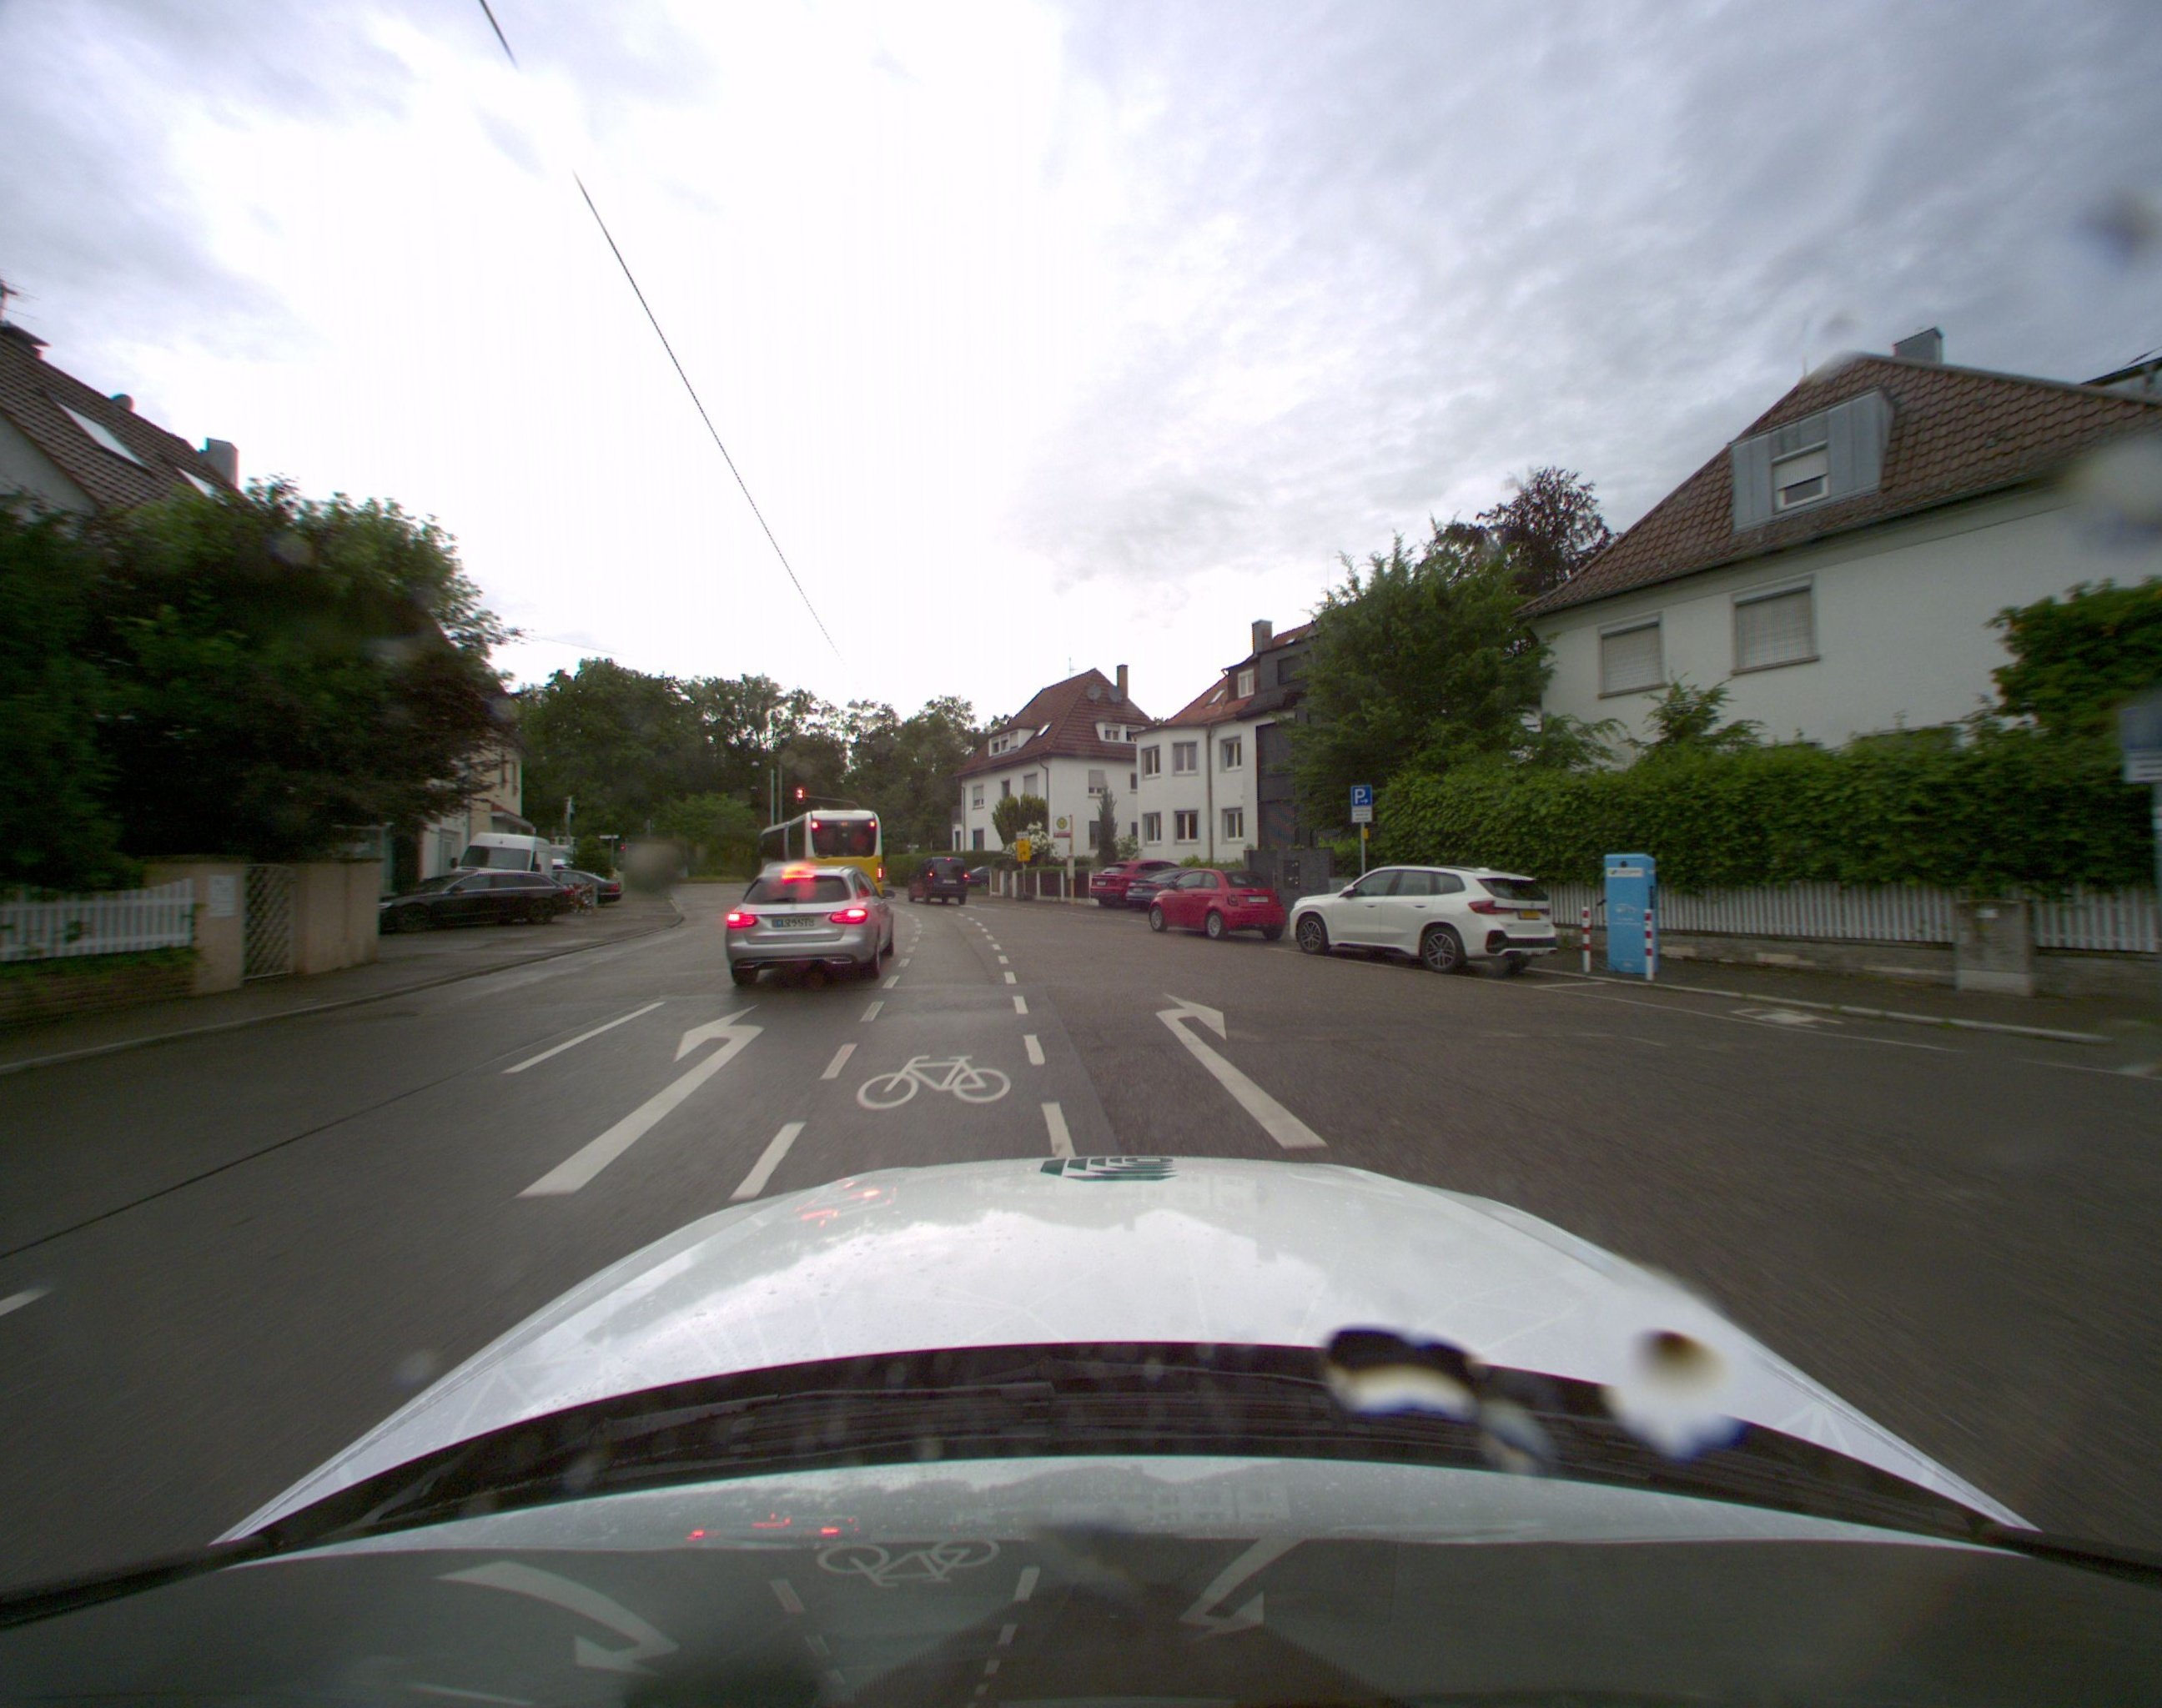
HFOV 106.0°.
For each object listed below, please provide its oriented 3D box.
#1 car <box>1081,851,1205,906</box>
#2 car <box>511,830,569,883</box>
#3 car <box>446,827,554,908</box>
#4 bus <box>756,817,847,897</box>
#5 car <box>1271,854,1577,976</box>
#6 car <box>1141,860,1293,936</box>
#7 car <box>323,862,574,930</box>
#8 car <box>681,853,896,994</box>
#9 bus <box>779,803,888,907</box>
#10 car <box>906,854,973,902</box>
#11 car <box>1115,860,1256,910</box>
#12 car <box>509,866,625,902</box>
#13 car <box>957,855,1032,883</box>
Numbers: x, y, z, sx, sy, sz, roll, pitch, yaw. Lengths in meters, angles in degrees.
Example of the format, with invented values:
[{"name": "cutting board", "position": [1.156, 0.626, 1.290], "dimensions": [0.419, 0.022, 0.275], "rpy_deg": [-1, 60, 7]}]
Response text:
[{"name": "car", "position": [2.263, 0.818, 29.330], "dimensions": [4.102, 1.750, 1.979], "rpy_deg": [-1, 1, -33]}, {"name": "car", "position": [-26.968, 0.147, 40.734], "dimensions": [2.006, 2.448, 5.441], "rpy_deg": [1, -1, -30]}, {"name": "car", "position": [-19.282, 0.441, 27.313], "dimensions": [2.004, 2.448, 5.447], "rpy_deg": [1, -1, -26]}, {"name": "bus", "position": [-13.596, 0.135, 39.057], "dimensions": [2.915, 3.398, 8.961], "rpy_deg": [0, 0, -27]}, {"name": "car", "position": [5.439, 0.862, 13.608], "dimensions": [1.754, 1.672, 4.604], "rpy_deg": [2, -1, -29]}, {"name": "car", "position": [2.964, 0.918, 18.409], "dimensions": [1.620, 1.537, 3.510], "rpy_deg": [2, -1, -26]}, {"name": "car", "position": [-15.929, 1.006, 20.855], "dimensions": [1.781, 1.495, 4.711], "rpy_deg": [1, -1, 27]}, {"name": "car", "position": [-3.710, 0.755, 11.217], "dimensions": [1.993, 1.479, 4.471], "rpy_deg": [-1, 0, -10]}, {"name": "bus", "position": [-9.652, 0.042, 31.081], "dimensions": [2.690, 3.398, 8.607], "rpy_deg": [0, 0, -26]}, {"name": "car", "position": [-5.772, 0.947, 32.938], "dimensions": [1.817, 1.797, 3.969], "rpy_deg": [0, -1, -23]}, {"name": "car", "position": [3.575, 0.978, 27.458], "dimensions": [4.581, 1.416, 1.979], "rpy_deg": [-1, 1, -35]}, {"name": "car", "position": [-21.079, 1.218, 33.421], "dimensions": [3.848, 1.344, 1.783], "rpy_deg": [2, -1, -38]}, {"name": "car", "position": [-4.680, 0.803, 44.349], "dimensions": [3.766, 1.388, 1.601], "rpy_deg": [0, 2, -30]}]
